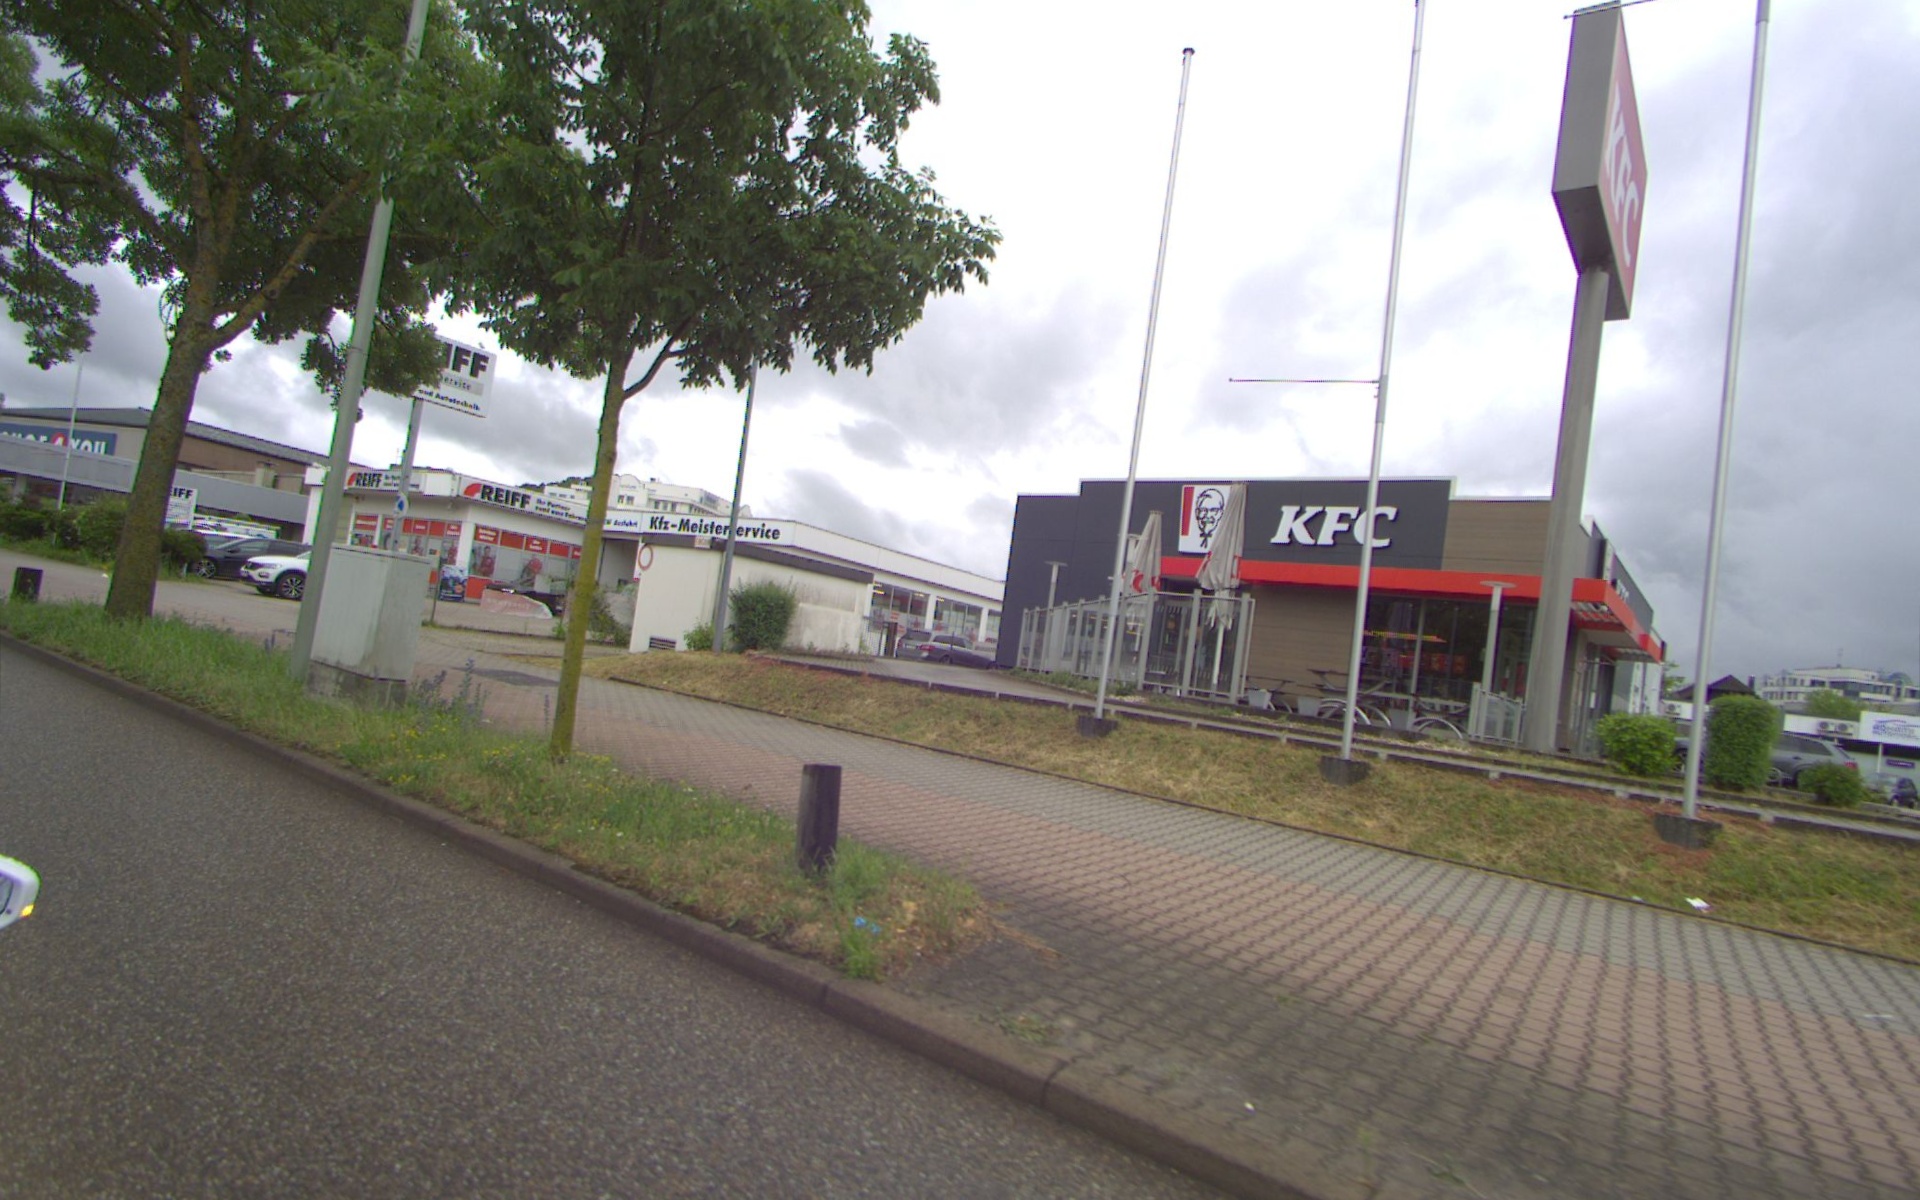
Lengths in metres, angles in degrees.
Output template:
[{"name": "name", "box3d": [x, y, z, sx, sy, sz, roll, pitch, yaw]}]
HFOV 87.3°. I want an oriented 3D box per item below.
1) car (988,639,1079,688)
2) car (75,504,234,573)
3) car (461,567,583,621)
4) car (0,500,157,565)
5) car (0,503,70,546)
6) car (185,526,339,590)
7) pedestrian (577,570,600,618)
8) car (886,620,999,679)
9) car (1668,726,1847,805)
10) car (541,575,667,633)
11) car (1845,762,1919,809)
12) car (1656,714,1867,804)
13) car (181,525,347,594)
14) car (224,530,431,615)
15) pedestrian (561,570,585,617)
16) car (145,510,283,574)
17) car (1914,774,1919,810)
[{"name": "car", "box3d": [3.164, 2.707, 42.704, 1.875, 1.618, 3.858, 6, -3, 39]}, {"name": "car", "box3d": [-28.126, -2.154, 35.317, 4.123, 1.682, 1.802, 9, -1, -38]}, {"name": "car", "box3d": [-16.689, -0.196, 38.521, 1.757, 1.495, 3.857, 6, -3, 31]}, {"name": "car", "box3d": [-31.333, -2.372, 35.882, 4.041, 1.615, 1.962, 9, -2, -41]}, {"name": "car", "box3d": [-40.409, -3.329, 42.541, 1.763, 1.481, 3.688, 7, -2, 29]}, {"name": "car", "box3d": [-23.628, -1.387, 34.127, 1.710, 1.541, 3.922, 6, -2, 43]}, {"name": "pedestrian", "box3d": [-14.419, -0.246, 39.028, 0.436, 1.805, 0.510, 8, -2, -44]}, {"name": "car", "box3d": [-0.599, 1.899, 37.980, 1.875, 1.720, 4.164, 6, -3, 39]}, {"name": "car", "box3d": [26.457, 5.452, 33.614, 4.433, 1.760, 1.888, 6, -2, 37]}, {"name": "car", "box3d": [-13.087, 0.181, 37.194, 1.747, 1.597, 3.993, 6, -2, 33]}, {"name": "car", "box3d": [42.906, 8.597, 46.256, 3.318, 1.568, 1.559, 10, -3, -13]}, {"name": "car", "box3d": [23.764, 4.678, 30.080, 4.670, 1.760, 1.888, 6, -2, 37]}, {"name": "car", "box3d": [-22.080, -1.259, 32.004, 1.695, 1.540, 3.981, 6, -2, 43]}, {"name": "car", "box3d": [-16.823, -0.682, 26.940, 1.861, 1.569, 4.178, 6, -3, 37]}, {"name": "pedestrian", "box3d": [-14.613, -0.240, 38.019, 0.506, 1.724, 0.439, 7, -1, 4]}, {"name": "car", "box3d": [-34.980, -2.660, 47.302, 1.931, 2.174, 4.666, 7, -2, 28]}, {"name": "car", "box3d": [44.808, 8.861, 44.927, 3.316, 1.569, 1.559, 8, -2, -13]}]
